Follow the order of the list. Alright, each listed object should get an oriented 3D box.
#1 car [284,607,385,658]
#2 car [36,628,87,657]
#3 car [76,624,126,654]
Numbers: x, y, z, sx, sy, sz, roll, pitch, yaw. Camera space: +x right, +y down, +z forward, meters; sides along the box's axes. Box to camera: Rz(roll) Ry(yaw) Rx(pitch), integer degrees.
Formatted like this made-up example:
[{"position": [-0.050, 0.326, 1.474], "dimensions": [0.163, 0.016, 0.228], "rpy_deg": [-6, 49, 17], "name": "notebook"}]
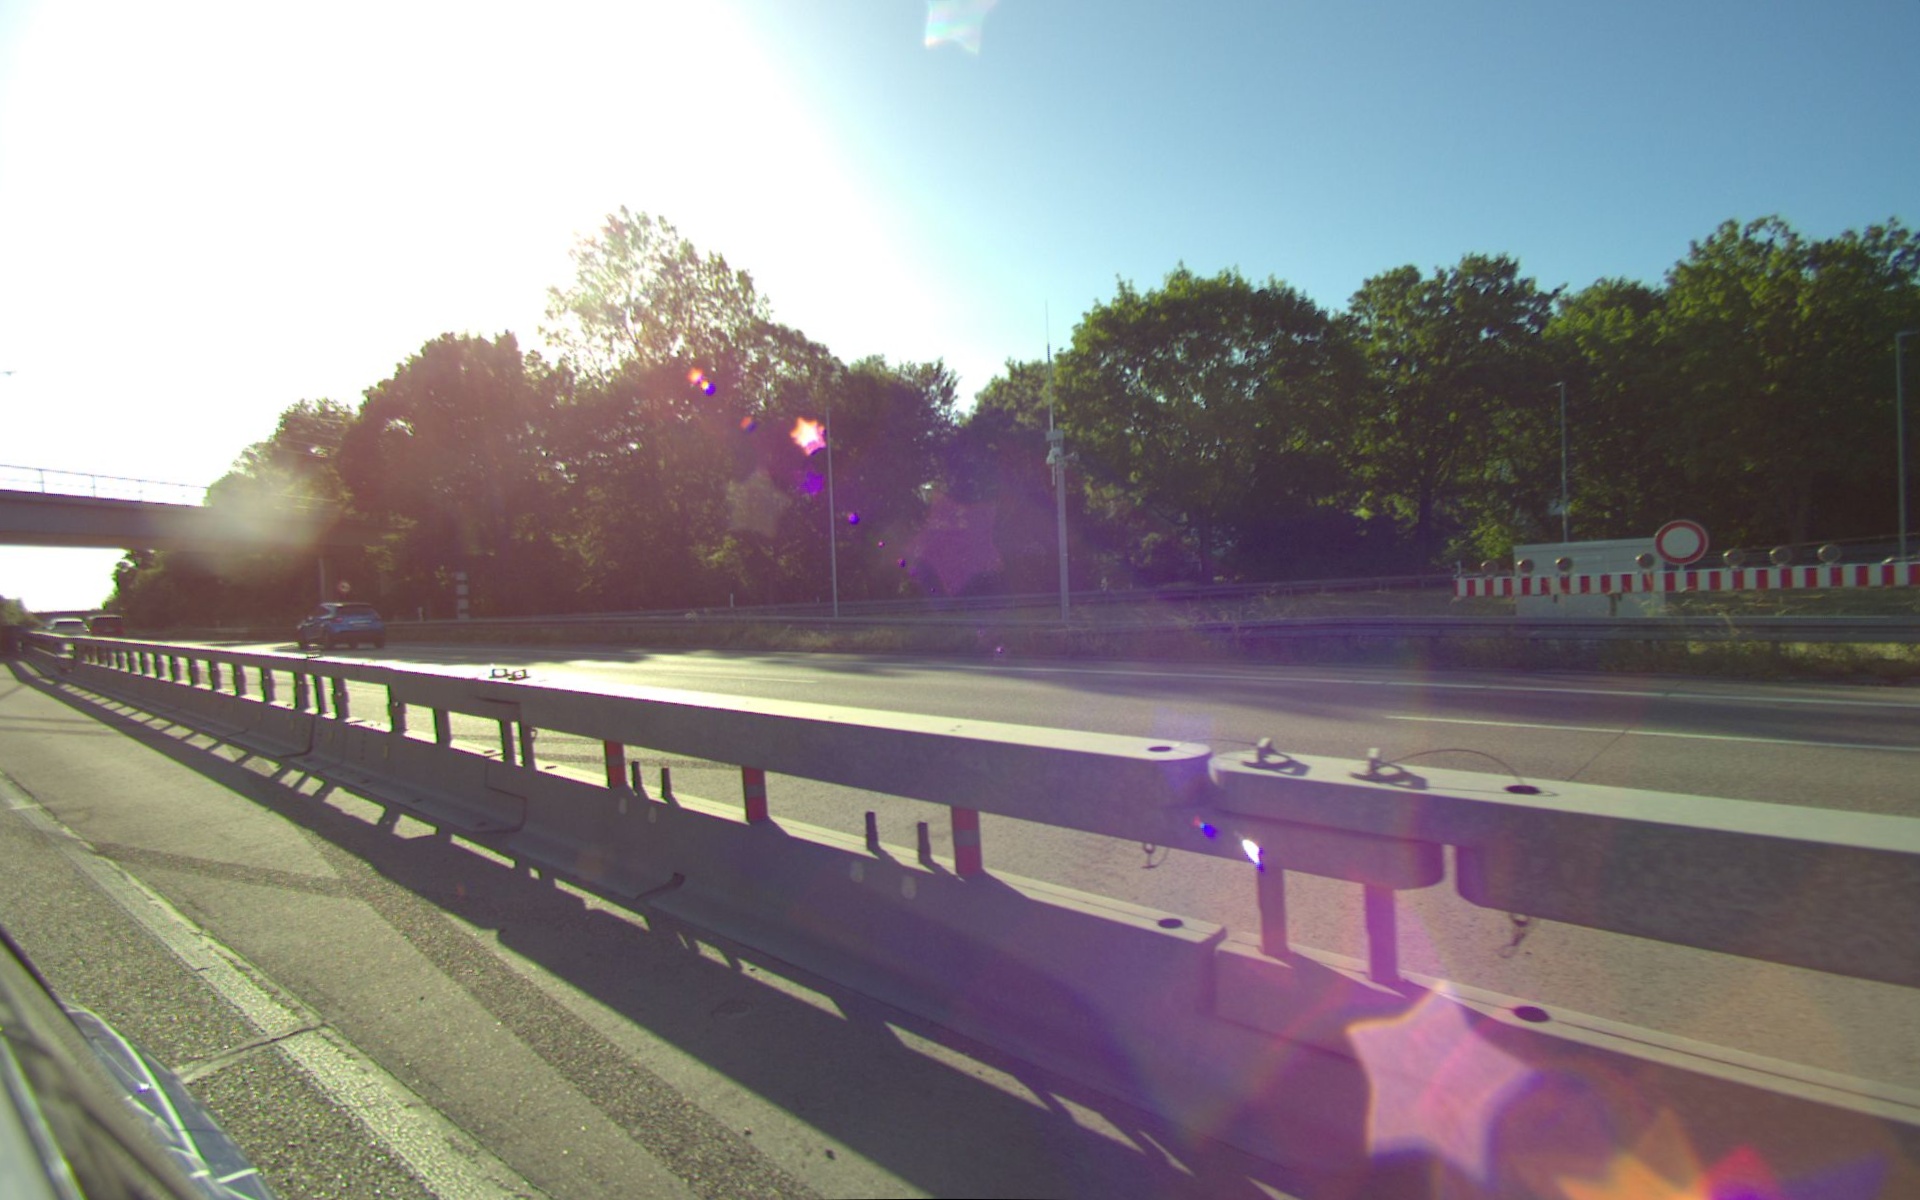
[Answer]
[{"position": [-21.217, 1.092, 34.281], "dimensions": [4.318, 1.584, 1.655], "rpy_deg": [-2, 0, 40], "name": "car"}, {"position": [-52.398, 2.456, 59.012], "dimensions": [4.532, 1.590, 1.768], "rpy_deg": [-2, -1, 42], "name": "car"}, {"position": [-60.106, 2.722, 70.780], "dimensions": [5.520, 1.925, 1.972], "rpy_deg": [-2, 0, 42], "name": "car"}]
